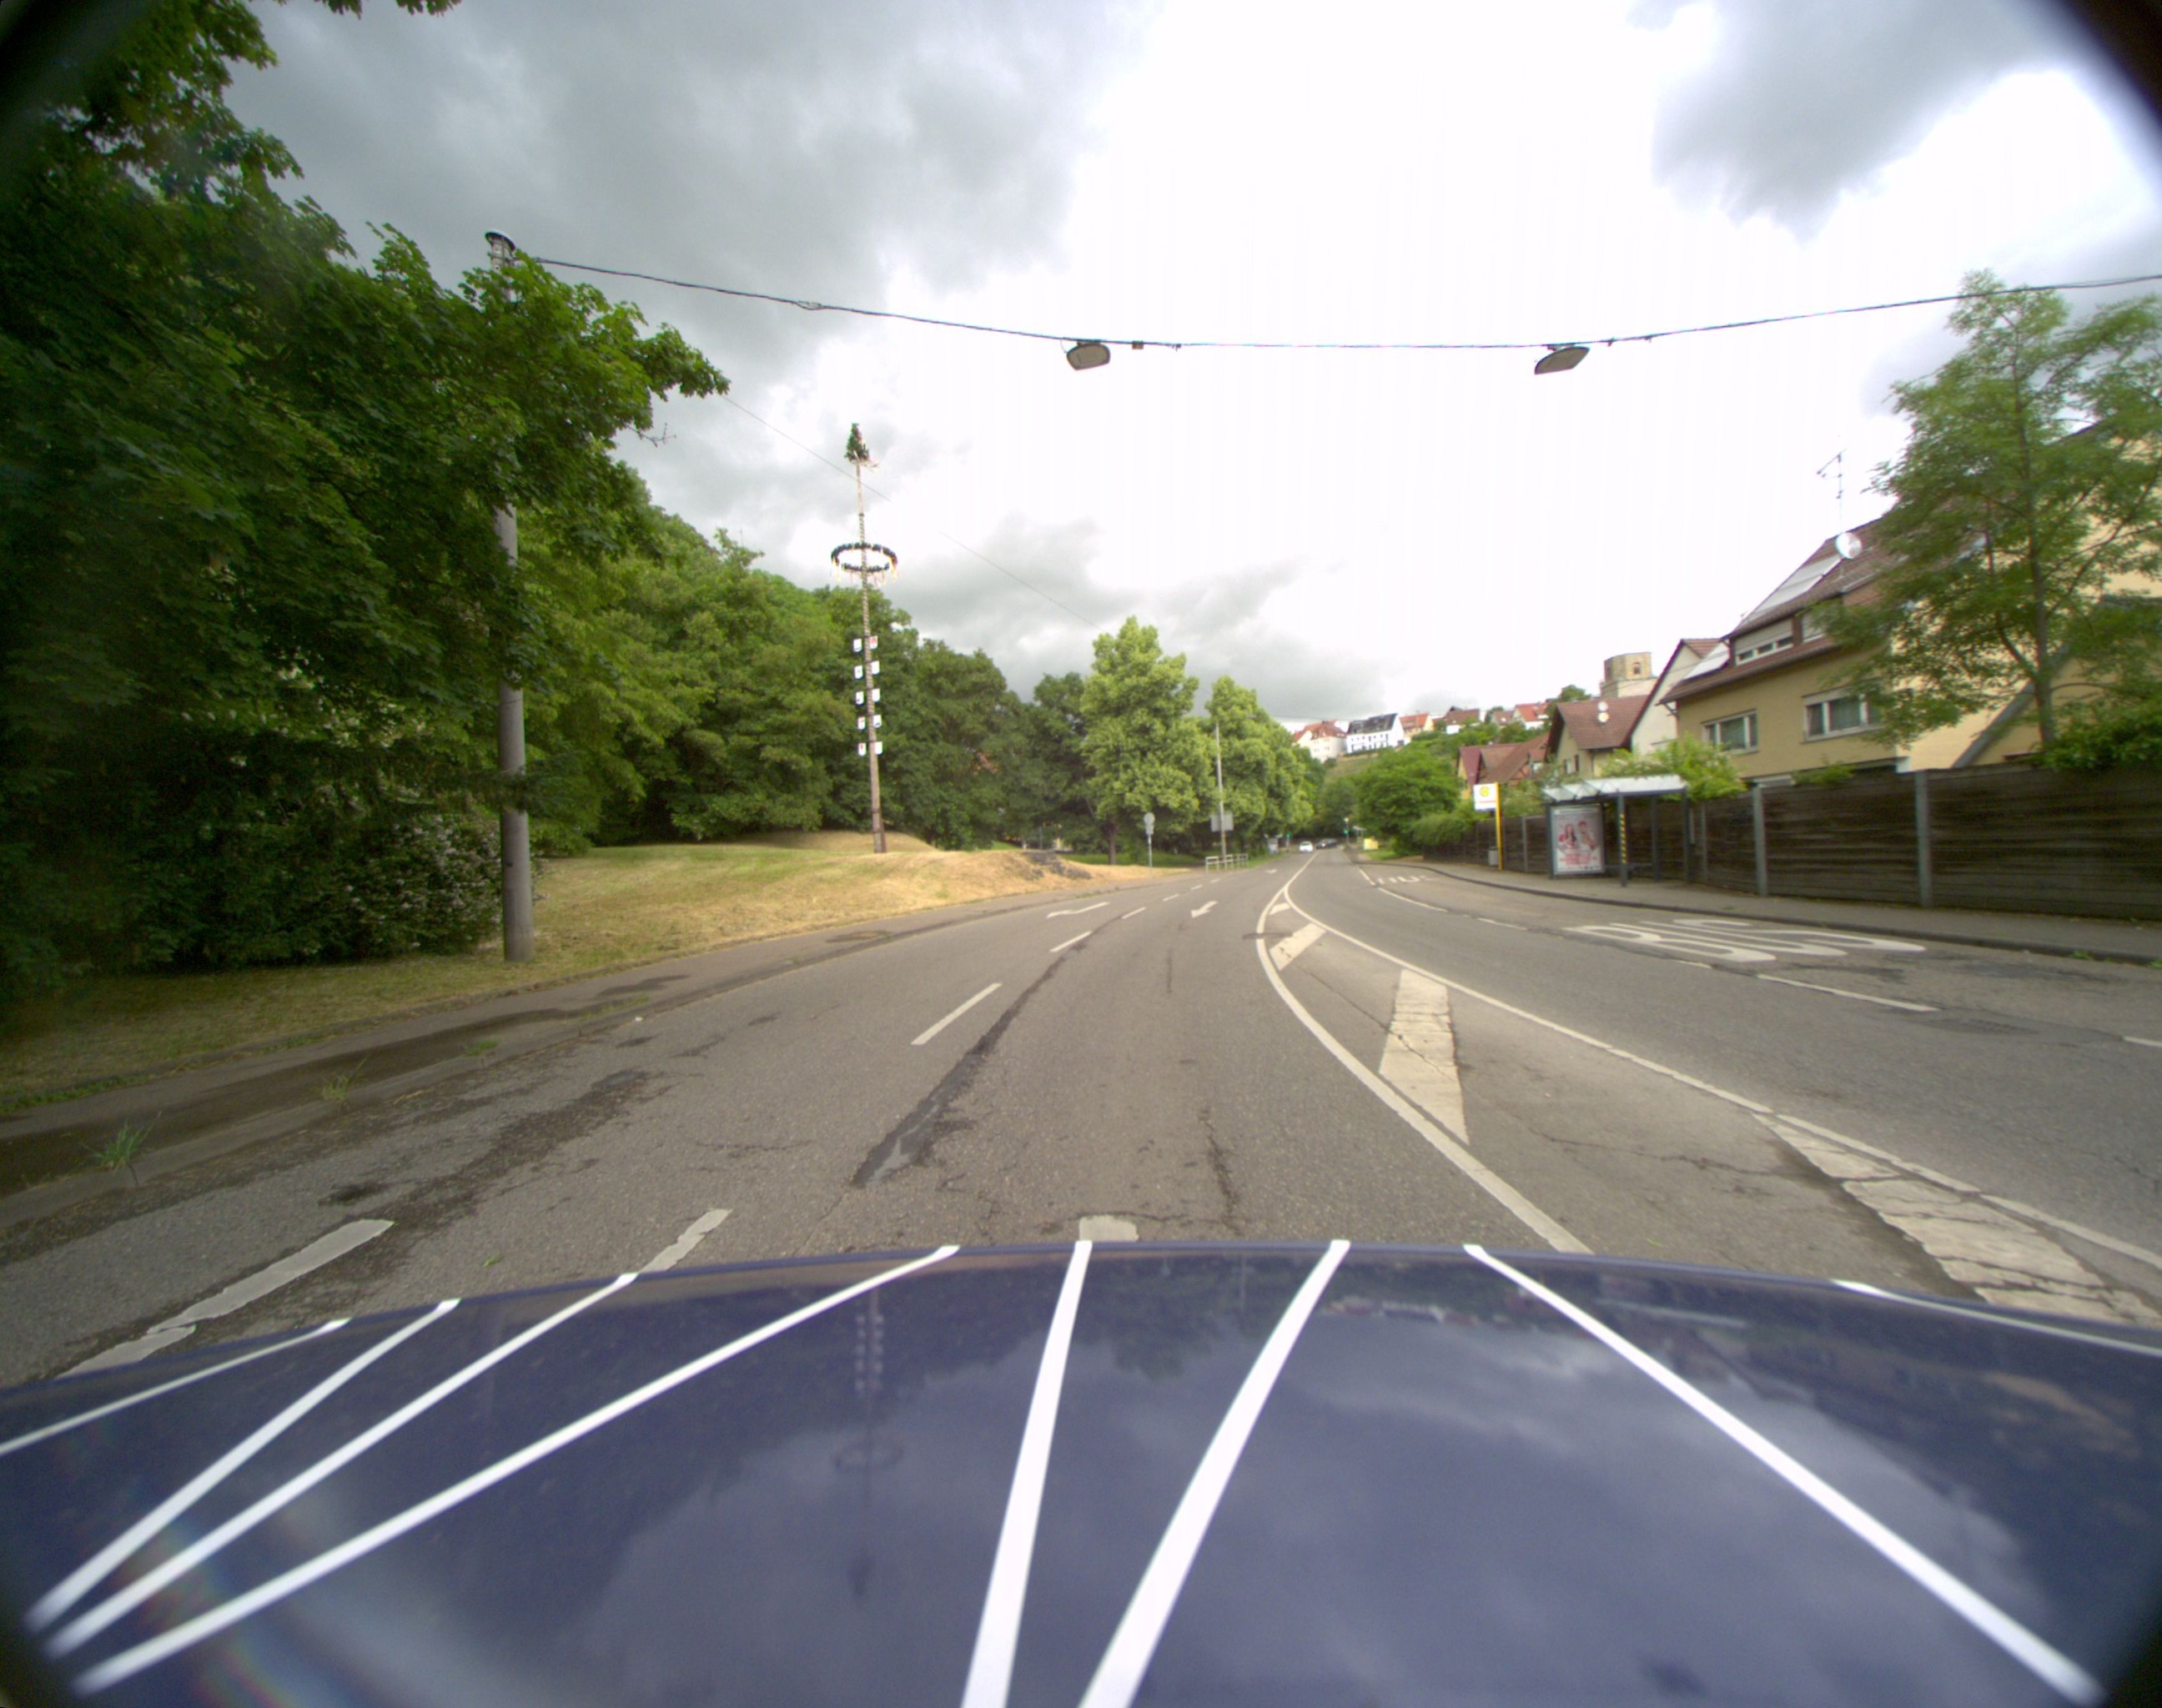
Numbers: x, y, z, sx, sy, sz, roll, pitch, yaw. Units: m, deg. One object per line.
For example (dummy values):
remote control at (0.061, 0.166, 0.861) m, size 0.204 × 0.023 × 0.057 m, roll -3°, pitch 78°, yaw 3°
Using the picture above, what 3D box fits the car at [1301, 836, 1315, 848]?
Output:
car at (31.710, -1.650, 106.022) m, size 1.761 × 1.516 × 3.687 m, roll -2°, pitch 1°, yaw 18°

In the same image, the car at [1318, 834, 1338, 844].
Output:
car at (40.086, -2.407, 123.287) m, size 1.760 × 1.575 × 3.690 m, roll -2°, pitch 1°, yaw 43°
